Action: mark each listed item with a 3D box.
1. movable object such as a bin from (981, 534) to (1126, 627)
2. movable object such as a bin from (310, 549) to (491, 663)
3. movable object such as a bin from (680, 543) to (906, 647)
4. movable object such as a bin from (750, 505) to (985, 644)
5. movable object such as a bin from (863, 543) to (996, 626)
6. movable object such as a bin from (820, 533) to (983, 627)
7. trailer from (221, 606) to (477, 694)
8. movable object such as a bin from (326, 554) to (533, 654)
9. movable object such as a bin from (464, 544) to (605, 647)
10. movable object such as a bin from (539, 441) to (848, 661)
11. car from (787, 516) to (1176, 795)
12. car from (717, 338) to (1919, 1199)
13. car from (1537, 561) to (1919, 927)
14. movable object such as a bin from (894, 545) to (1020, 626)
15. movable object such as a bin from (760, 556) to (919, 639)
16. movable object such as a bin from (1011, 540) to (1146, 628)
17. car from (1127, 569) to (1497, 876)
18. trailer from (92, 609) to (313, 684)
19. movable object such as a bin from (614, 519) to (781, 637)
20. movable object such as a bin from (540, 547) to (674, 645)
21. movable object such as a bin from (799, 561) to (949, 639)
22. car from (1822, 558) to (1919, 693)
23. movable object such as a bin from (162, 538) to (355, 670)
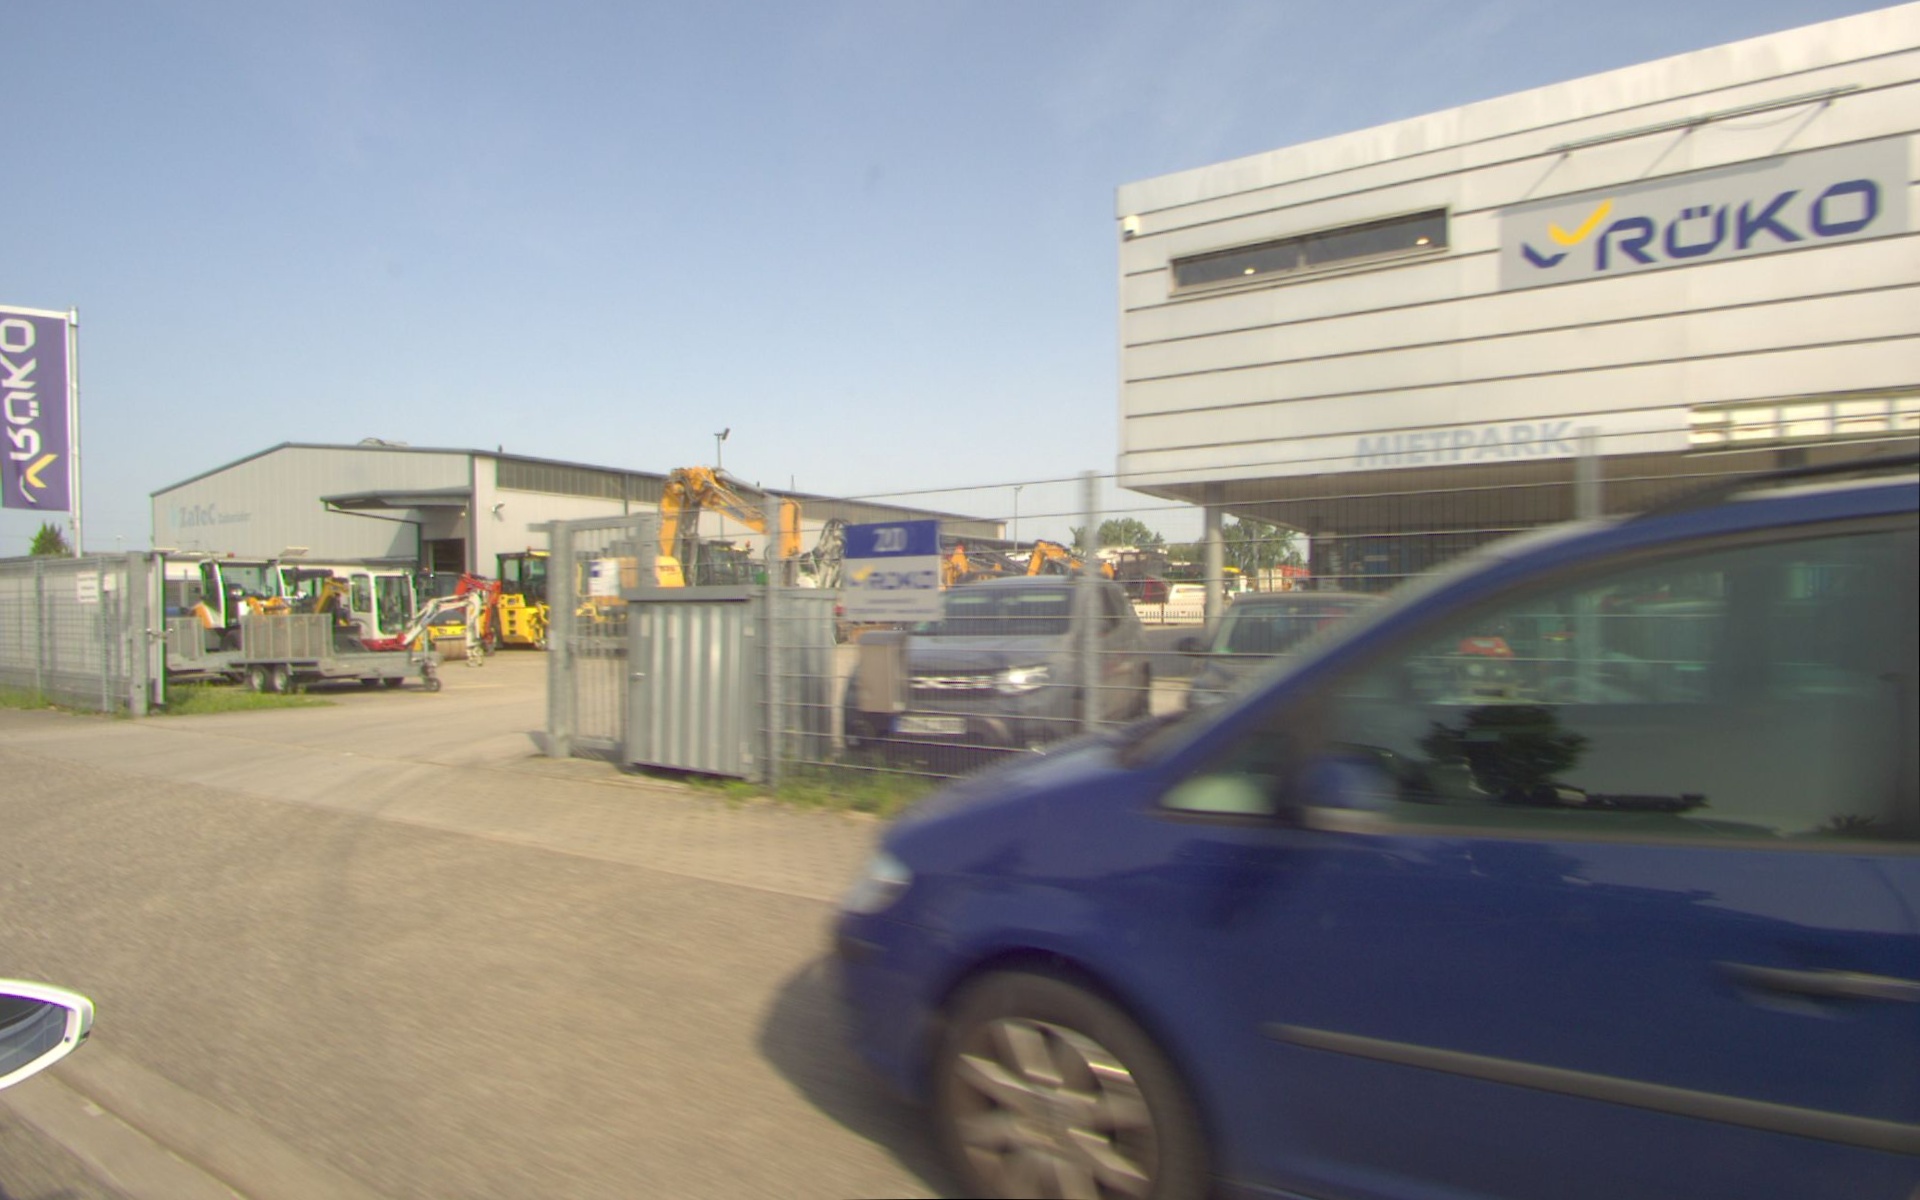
[{"bbox_3d":[4.191,-0.833,45.171,5.929,3.982,2.715,0,1,28],"label":"movable object such as a bin"},{"bbox_3d":[-13.492,0.133,24.065,4.700,2.491,1.986,0,1,36],"label":"movable object such as a bin"},{"bbox_3d":[-4.918,-0.168,29.238,6.253,2.753,2.696,1,1,30],"label":"movable object such as a bin"},{"bbox_3d":[-3.014,-0.788,31.843,7.099,3.983,2.913,1,2,30],"label":"movable object such as a bin"},{"bbox_3d":[-1.511,-0.725,48.549,6.047,3.832,2.448,0,1,28],"label":"movable object such as a bin"},{"bbox_3d":[-2.664,-0.850,45.053,7.090,3.982,2.463,0,1,28],"label":"movable object such as a bin"},{"bbox_3d":[-10.474,0.788,17.080,4.499,1.328,1.989,-1,0,33],"label":"trailer"},{"bbox_3d":[-14.907,0.094,28.092,5.262,2.525,2.916,0,1,32],"label":"movable object such as a bin"},{"bbox_3d":[-13.570,-0.153,31.895,4.427,3.072,1.988,0,1,32],"label":"movable object such as a bin"},{"bbox_3d":[-6.885,-1.121,25.578,7.557,4.871,3.311,1,1,30],"label":"movable object such as a bin"},{"bbox_3d":[0.480,0.355,8.635,1.868,1.760,4.225,0,0,24],"label":"car"},{"bbox_3d":[1.621,0.508,2.338,4.186,1.743,1.823,-1,0,31],"label":"car"},{"bbox_3d":[4.726,0.592,6.116,1.869,1.515,4.221,1,1,28],"label":"car"},{"bbox_3d":[-0.185,-0.693,51.640,6.047,3.982,2.448,0,1,28],"label":"movable object such as a bin"},{"bbox_3d":[-4.378,-0.127,36.020,5.604,2.807,2.050,1,2,30],"label":"movable object such as a bin"},{"bbox_3d":[5.703,-0.730,48.237,5.929,3.982,2.715,0,1,28],"label":"movable object such as a bin"},{"bbox_3d":[2.778,0.593,7.242,1.869,1.515,4.221,1,1,28],"label":"car"},{"bbox_3d":[-14.653,0.820,19.342,4.230,1.260,1.941,0,1,31],"label":"trailer"},{"bbox_3d":[-9.436,-0.743,35.843,5.636,3.926,2.678,0,1,32],"label":"movable object such as a bin"},{"bbox_3d":[-11.853,-0.137,33.562,4.310,3.072,1.988,0,1,32],"label":"movable object such as a bin"},{"bbox_3d":[-3.326,-0.043,38.407,5.604,2.807,2.050,1,2,30],"label":"movable object such as a bin"},{"bbox_3d":[15.974,0.395,16.607,1.868,2.028,4.347,1,0,32],"label":"car"},{"bbox_3d":[-16.412,0.086,23.354,5.085,2.789,1.882,0,1,33],"label":"movable object such as a bin"}]
